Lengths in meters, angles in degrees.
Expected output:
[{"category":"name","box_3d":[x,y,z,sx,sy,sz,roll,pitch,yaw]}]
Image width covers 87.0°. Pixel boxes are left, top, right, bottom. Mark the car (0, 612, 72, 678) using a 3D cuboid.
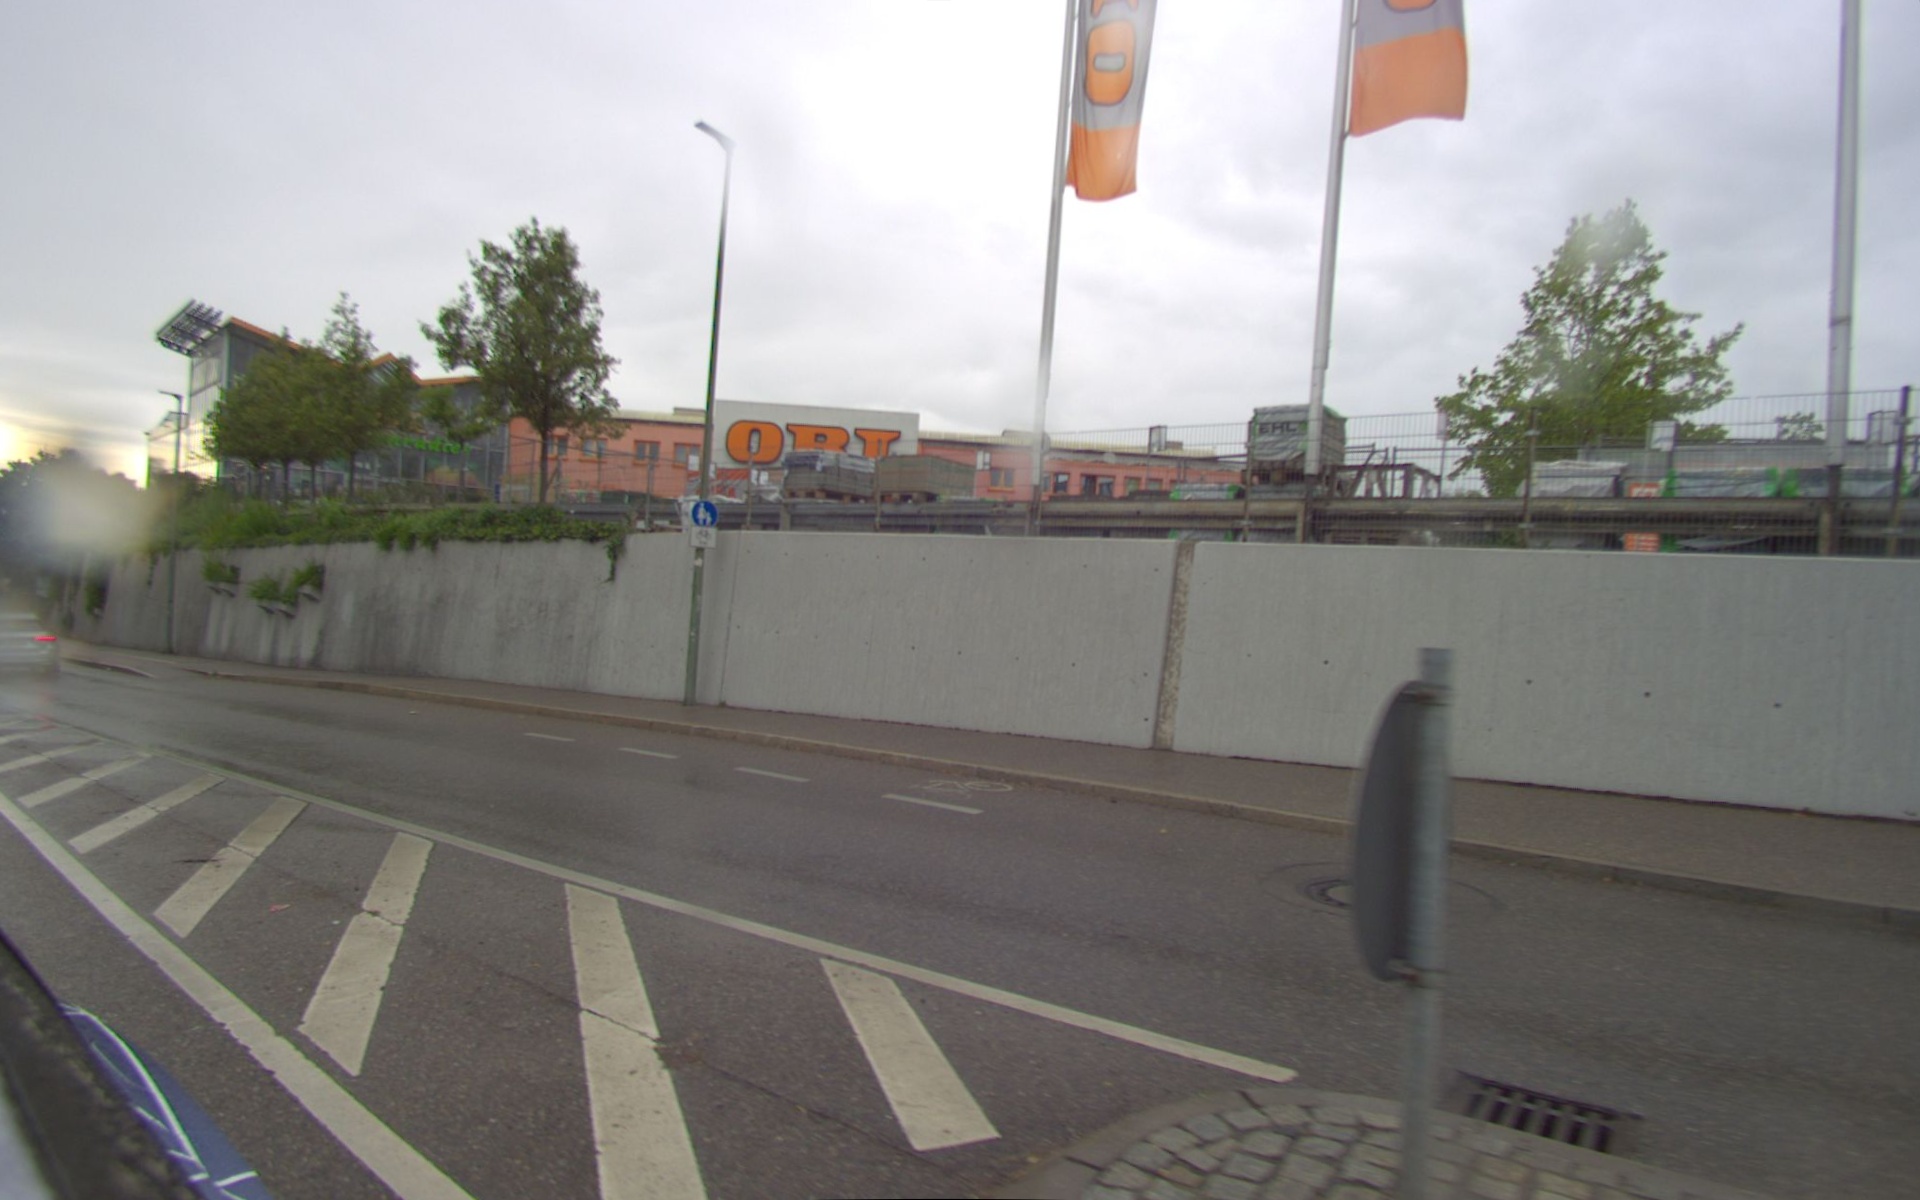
[{"category":"car","box_3d":[-22.954,1.016,24.069,4.776,1.437,1.981,0,-1,39]}]
